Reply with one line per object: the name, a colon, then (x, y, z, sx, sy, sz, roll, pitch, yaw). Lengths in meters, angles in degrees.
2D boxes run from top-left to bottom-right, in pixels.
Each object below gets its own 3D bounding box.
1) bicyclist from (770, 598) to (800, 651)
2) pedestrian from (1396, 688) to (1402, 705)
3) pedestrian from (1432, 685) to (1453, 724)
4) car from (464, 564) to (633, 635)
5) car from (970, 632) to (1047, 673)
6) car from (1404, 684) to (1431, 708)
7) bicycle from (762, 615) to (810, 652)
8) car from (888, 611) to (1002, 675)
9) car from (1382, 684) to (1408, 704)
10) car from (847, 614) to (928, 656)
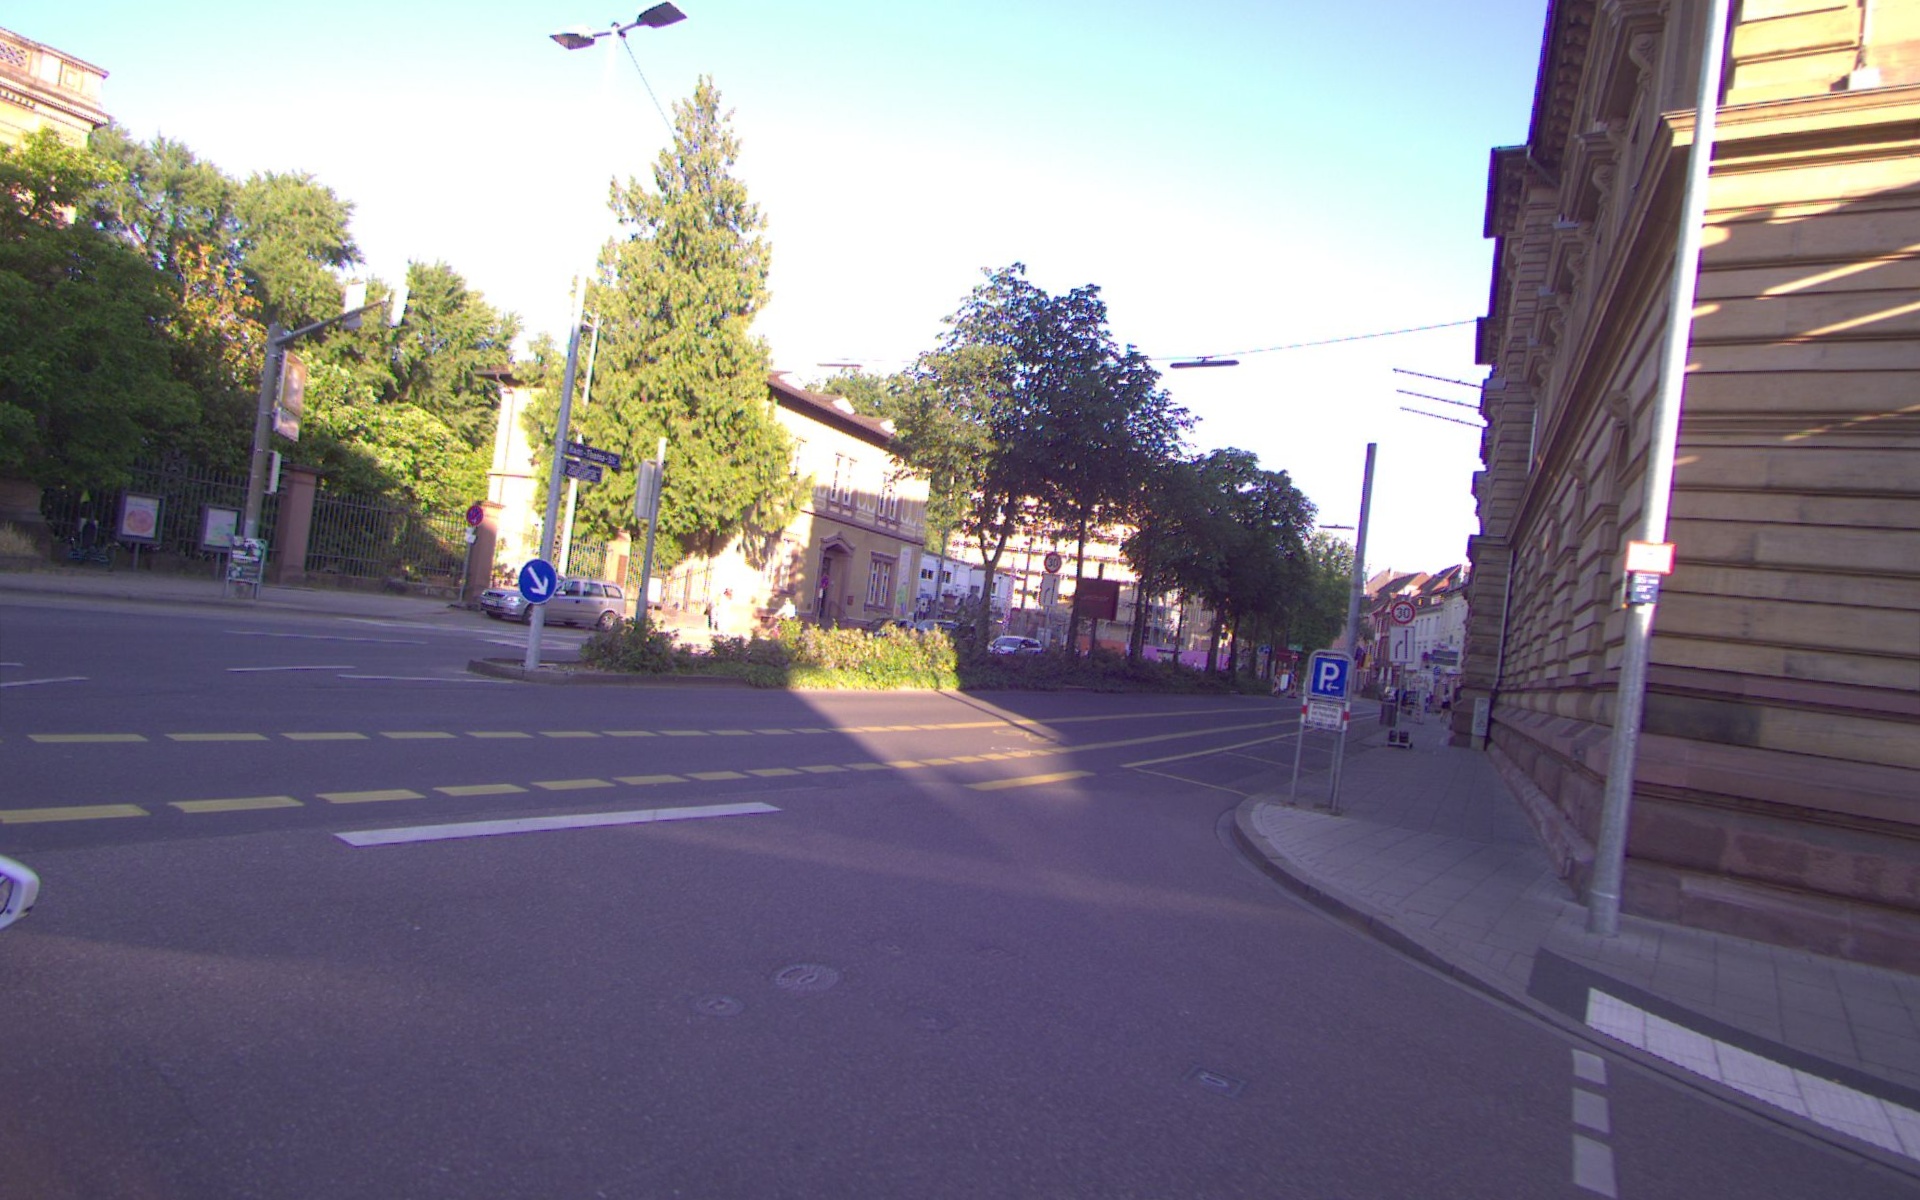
bicyclist: (-5.822, 0.815, 33.521, 0.656, 1.663, 0.519, 5, -1, 34)
pedestrian: (40.382, 8.877, 92.522, 0.358, 1.509, 0.331, 7, 0, 19)
pedestrian: (24.613, 5.322, 51.329, 0.761, 1.875, 0.811, 7, 0, 27)
car: (-11.475, 0.031, 28.362, 1.685, 1.462, 4.196, 7, -2, 27)
car: (2.131, 2.298, 43.319, 1.802, 1.407, 4.021, 6, -2, 26)
car: (41.920, 8.784, 92.265, 1.685, 1.870, 3.828, 7, -1, 19)
bicycle: (-5.796, 1.121, 33.603, 0.488, 1.113, 1.664, 5, -2, 34)
car: (-0.393, 1.398, 31.390, 1.802, 1.631, 4.075, 6, -2, 26)
car: (45.141, 9.740, 104.477, 1.685, 1.678, 3.829, 7, -1, 15)
car: (-3.250, 1.627, 46.030, 1.802, 1.509, 4.075, 6, -2, 26)
